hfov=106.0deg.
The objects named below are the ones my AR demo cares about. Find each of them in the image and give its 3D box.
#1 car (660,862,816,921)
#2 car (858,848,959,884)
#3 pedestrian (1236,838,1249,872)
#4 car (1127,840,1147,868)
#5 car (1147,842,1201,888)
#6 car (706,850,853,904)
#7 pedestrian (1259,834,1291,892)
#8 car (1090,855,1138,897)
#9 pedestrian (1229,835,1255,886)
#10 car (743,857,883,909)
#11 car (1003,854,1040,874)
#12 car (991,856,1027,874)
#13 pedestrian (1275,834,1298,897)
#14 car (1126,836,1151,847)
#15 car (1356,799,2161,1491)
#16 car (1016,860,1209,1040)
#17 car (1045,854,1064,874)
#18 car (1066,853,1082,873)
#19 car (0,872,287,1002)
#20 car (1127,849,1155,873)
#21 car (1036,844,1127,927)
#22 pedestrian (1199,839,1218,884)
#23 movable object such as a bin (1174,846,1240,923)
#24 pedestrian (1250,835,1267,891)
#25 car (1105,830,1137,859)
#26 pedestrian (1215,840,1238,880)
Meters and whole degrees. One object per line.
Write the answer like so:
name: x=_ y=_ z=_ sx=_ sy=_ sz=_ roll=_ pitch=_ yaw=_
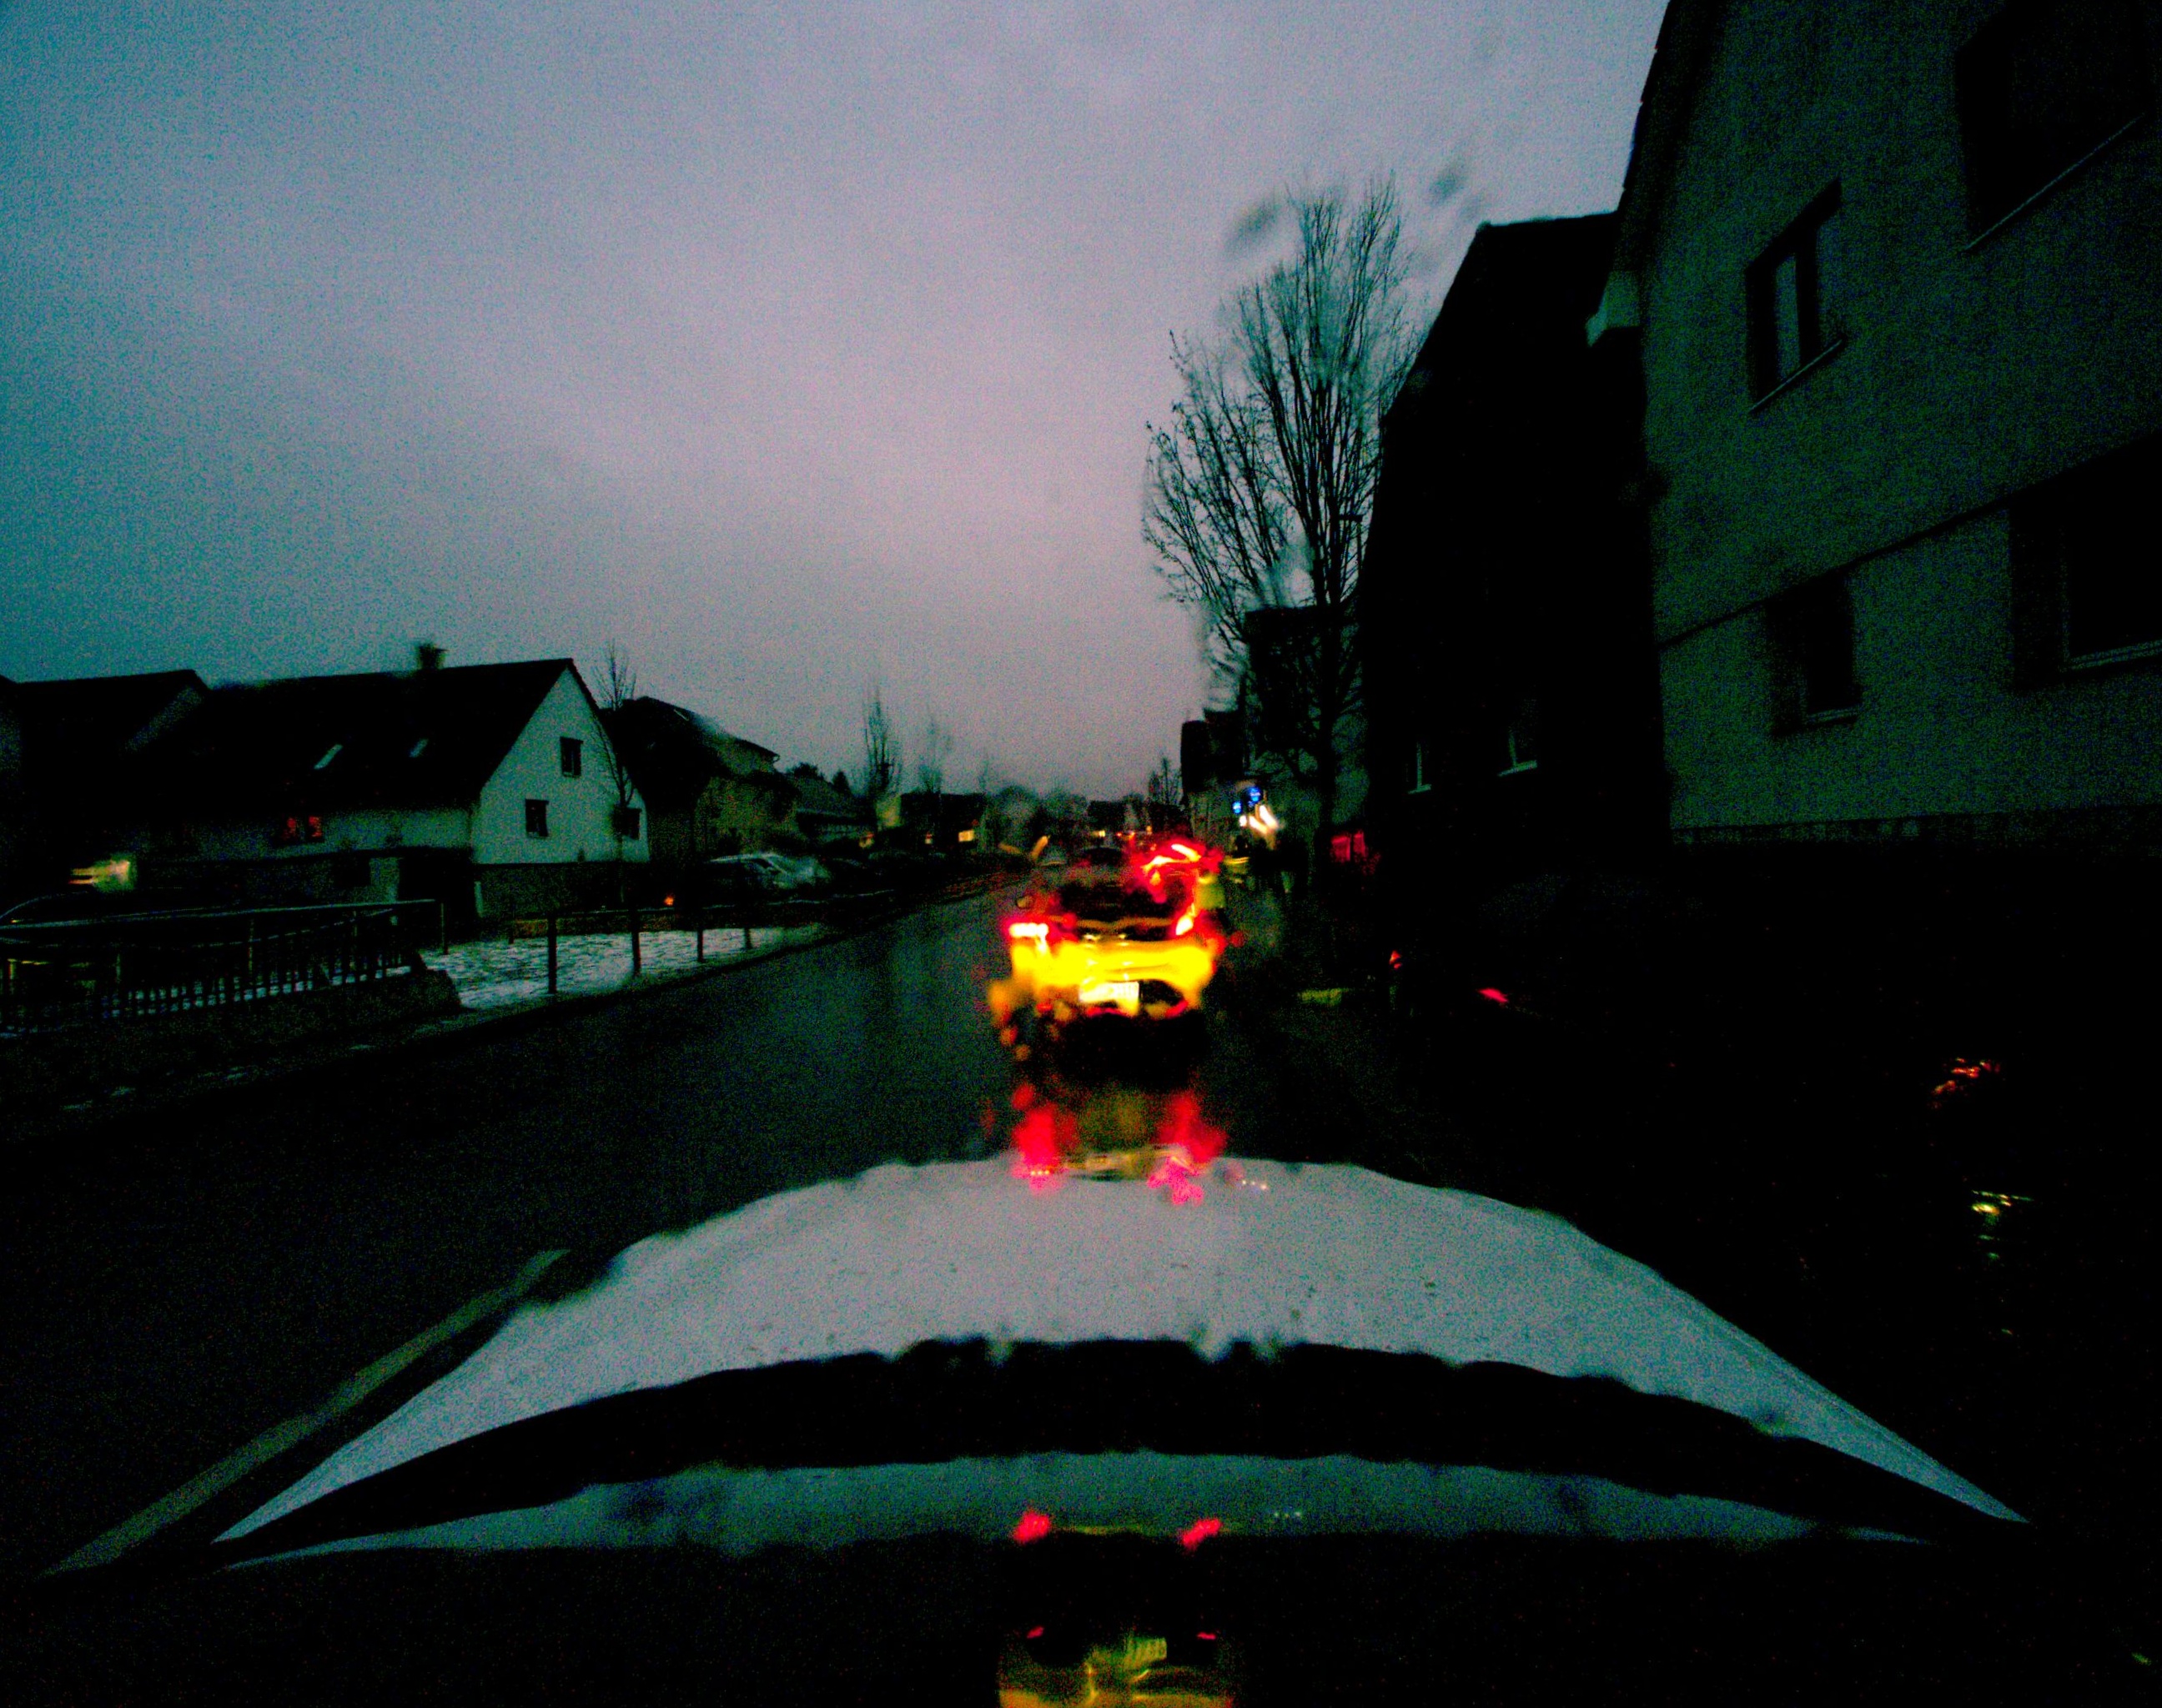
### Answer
car: x=-9.121 y=0.969 z=21.825 sx=3.432 sy=1.372 sz=1.601 roll=-2 pitch=0 yaw=1
car: x=-8.611 y=0.578 z=40.940 sx=4.611 sy=1.667 sz=1.999 roll=-1 pitch=-1 yaw=-1
pedestrian: x=8.288 y=0.046 z=41.784 sx=0.614 sy=1.727 sz=0.503 roll=-1 pitch=-2 yaw=13
car: x=5.290 y=0.077 z=77.445 sx=1.862 sy=2.469 sz=4.446 roll=-1 pitch=-2 yaw=3
car: x=3.701 y=0.417 z=33.093 sx=1.729 sy=1.692 sz=4.387 roll=-2 pitch=0 yaw=1
car: x=-9.067 y=0.682 z=24.627 sx=3.772 sy=1.523 sz=1.718 roll=-1 pitch=-1 yaw=8
pedestrian: x=5.825 y=0.273 z=24.558 sx=0.743 sy=1.679 sz=1.054 roll=-4 pitch=-1 yaw=8
car: x=1.109 y=0.701 z=27.957 sx=1.535 sy=1.331 sz=3.312 roll=-1 pitch=0 yaw=2
pedestrian: x=5.651 y=0.220 z=28.515 sx=0.707 sy=1.715 sz=1.039 roll=-3 pitch=0 yaw=15
car: x=-8.906 y=0.950 z=27.207 sx=4.074 sy=1.608 sz=1.589 roll=-1 pitch=-1 yaw=5
car: x=-6.984 y=1.215 z=94.906 sx=2.011 sy=2.167 sz=4.331 roll=2 pitch=-3 yaw=-44
car: x=-8.159 y=1.258 z=91.883 sx=1.833 sy=1.976 sz=4.117 roll=2 pitch=-3 yaw=-44
pedestrian: x=5.465 y=0.319 z=21.733 sx=0.525 sy=1.653 sz=0.957 roll=-1 pitch=-2 yaw=12
car: x=10.274 y=-2.188 z=144.938 sx=4.352 sy=1.826 sz=2.002 roll=-1 pitch=-2 yaw=4
car: x=2.799 y=0.608 z=3.882 sx=1.721 sy=1.464 sz=4.203 roll=-5 pitch=0 yaw=4
car: x=0.306 y=0.793 z=8.121 sx=1.557 sy=1.412 sz=3.019 roll=-1 pitch=0 yaw=2
car: x=-2.817 y=1.099 z=88.054 sx=1.913 sy=2.028 sz=3.974 roll=-1 pitch=-2 yaw=0
car: x=-0.814 y=1.129 z=95.917 sx=1.913 sy=2.216 sz=3.974 roll=-1 pitch=-2 yaw=0
car: x=-14.133 y=1.123 z=11.119 sx=1.794 sy=1.482 sz=4.577 roll=-4 pitch=1 yaw=4
car: x=4.759 y=0.562 z=65.048 sx=1.990 sy=1.865 sz=4.085 roll=-1 pitch=-1 yaw=2
car: x=0.107 y=0.623 z=18.037 sx=1.759 sy=1.628 sz=3.589 roll=-1 pitch=0 yaw=4
pedestrian: x=4.956 y=0.289 z=31.668 sx=0.571 sy=1.699 sz=0.653 roll=-4 pitch=-1 yaw=3
movable object such as a bin: x=2.575 y=0.602 z=16.796 sx=1.124 sy=1.420 sz=1.419 roll=-5 pitch=1 yaw=4
pedestrian: x=5.814 y=0.286 z=26.697 sx=0.525 sy=1.800 sz=0.867 roll=-1 pitch=0 yaw=12
car: x=4.705 y=-1.051 z=94.075 sx=3.173 sy=3.032 sz=6.317 roll=-1 pitch=-2 yaw=7
pedestrian: x=6.006 y=0.228 z=33.630 sx=0.618 sy=1.626 sz=0.903 roll=-2 pitch=1 yaw=-11
